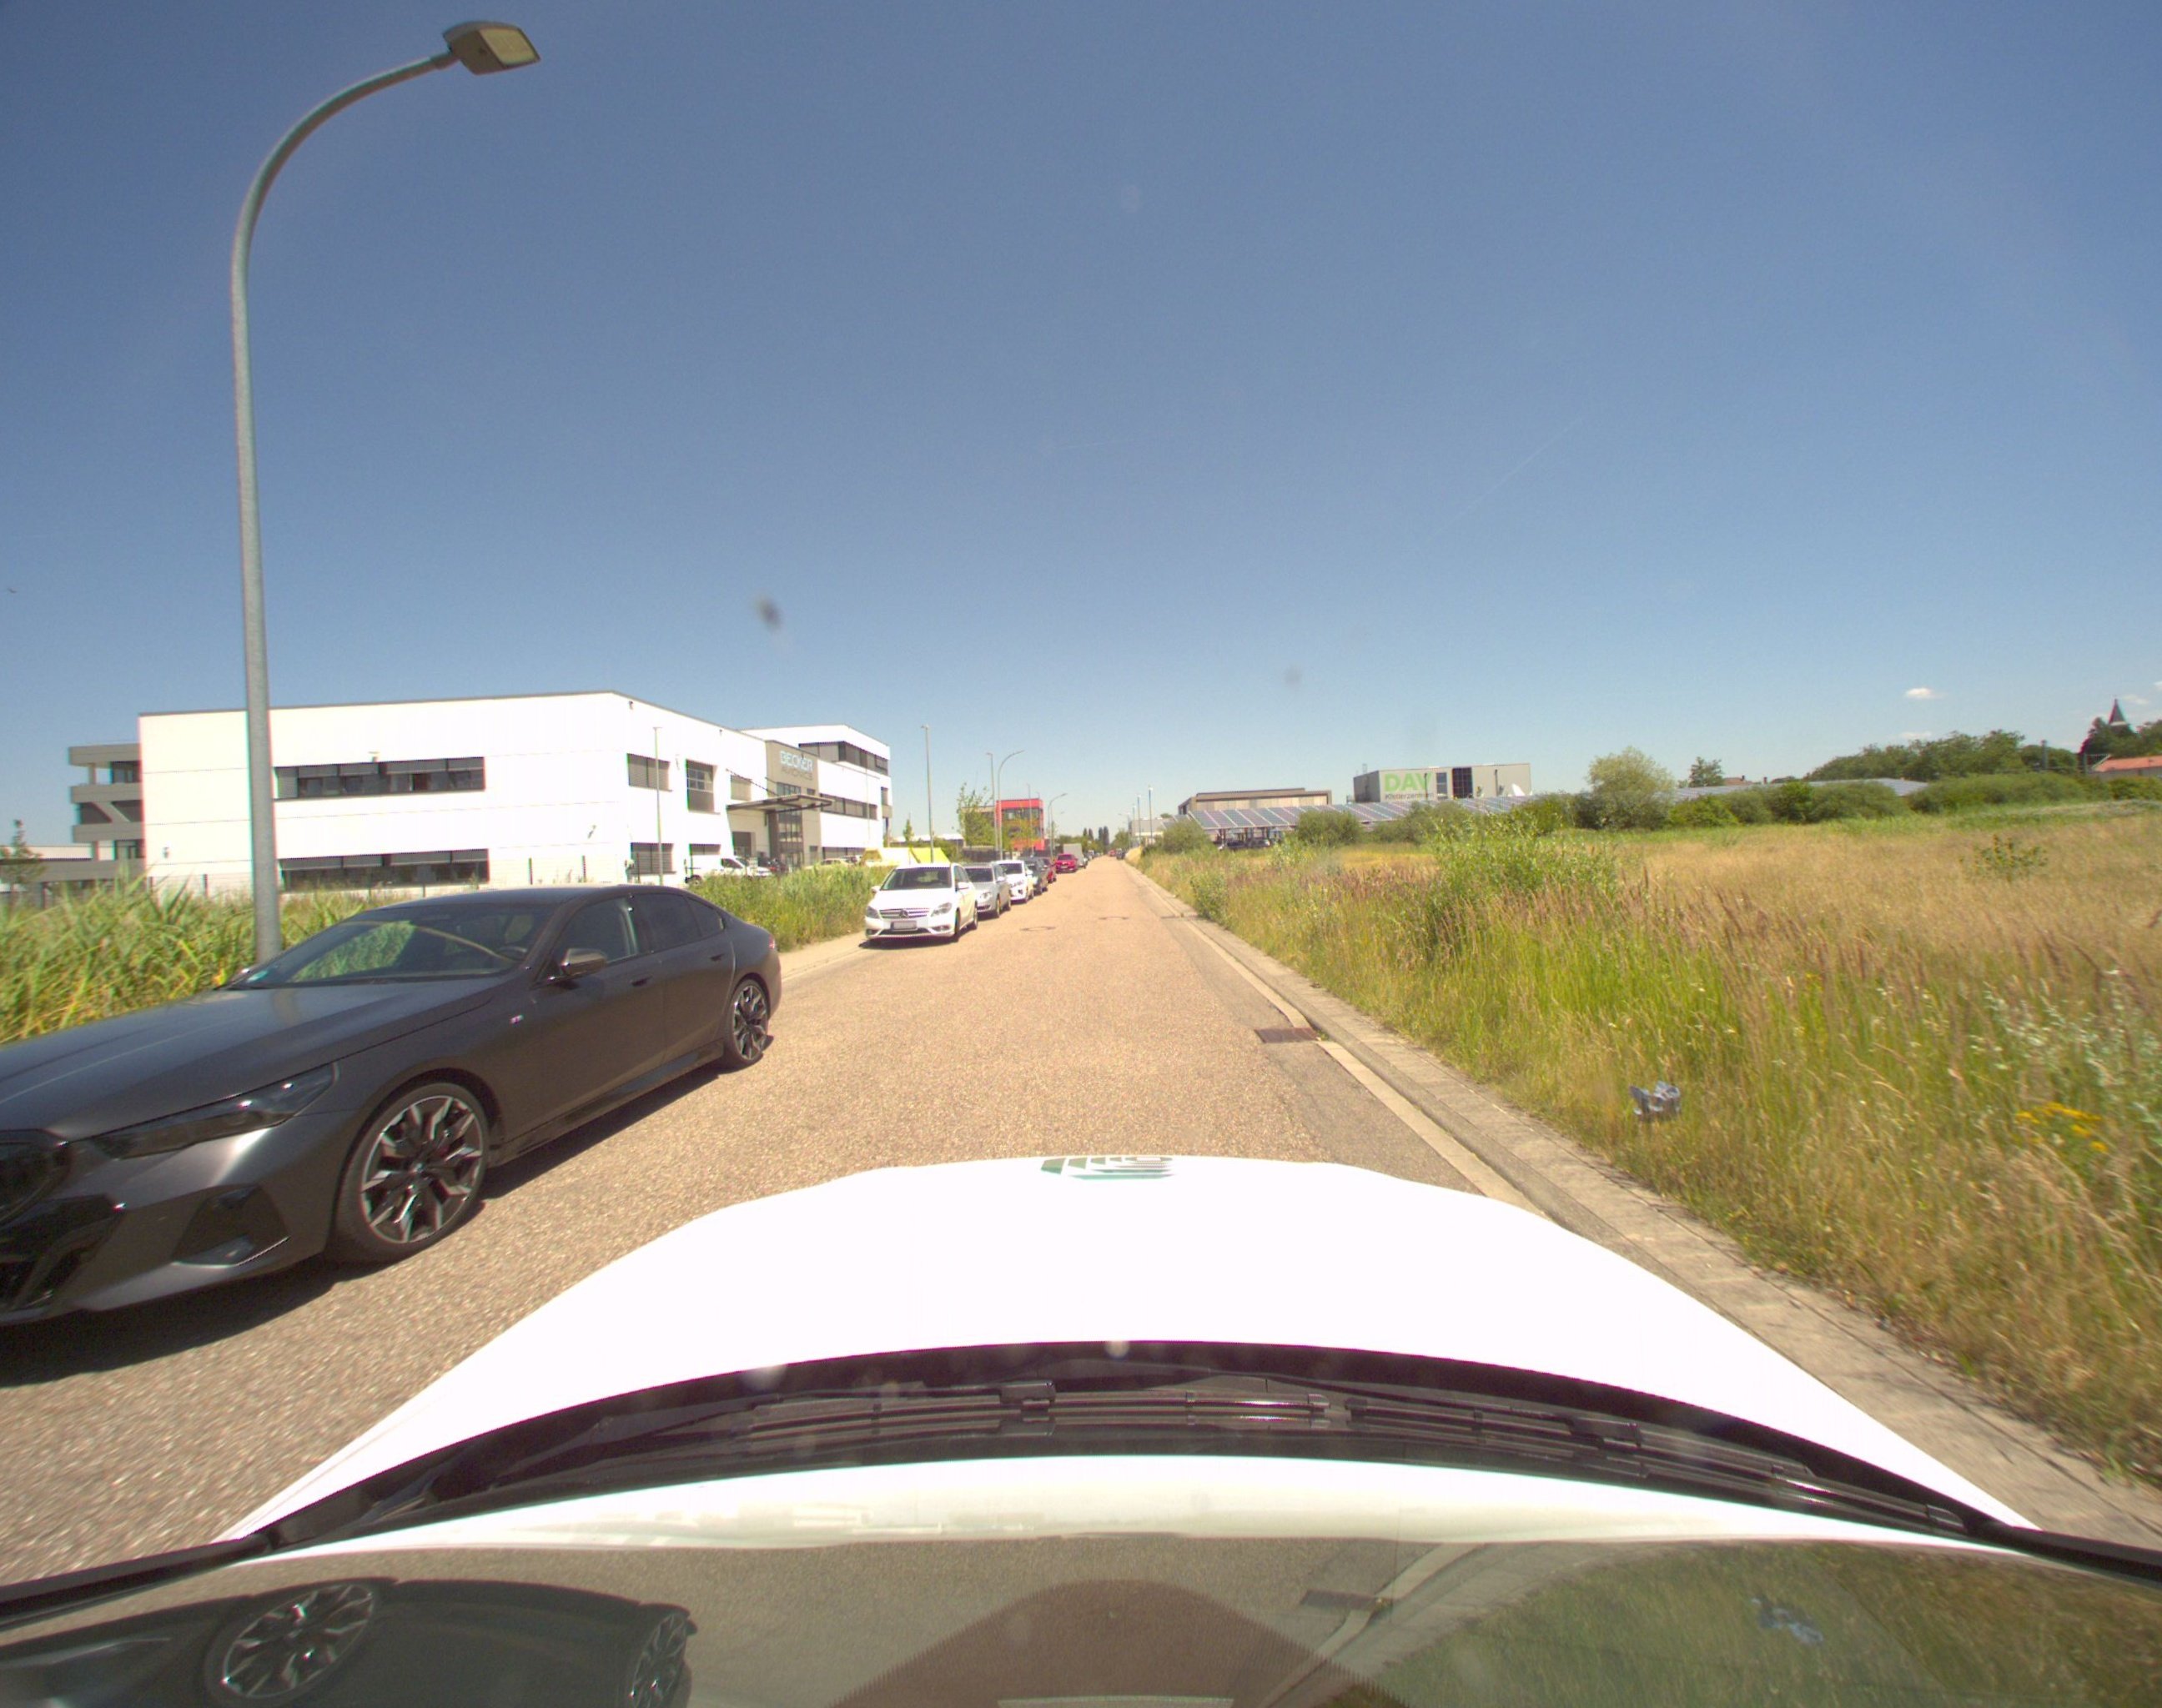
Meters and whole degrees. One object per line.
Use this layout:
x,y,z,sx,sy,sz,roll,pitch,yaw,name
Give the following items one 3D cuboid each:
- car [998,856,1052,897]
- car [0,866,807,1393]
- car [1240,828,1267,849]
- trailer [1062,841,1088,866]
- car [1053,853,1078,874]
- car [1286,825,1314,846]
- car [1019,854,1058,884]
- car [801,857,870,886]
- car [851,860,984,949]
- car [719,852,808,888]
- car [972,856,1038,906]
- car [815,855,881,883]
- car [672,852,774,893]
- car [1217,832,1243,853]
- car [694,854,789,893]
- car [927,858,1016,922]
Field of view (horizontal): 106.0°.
-2.282,0.895,34.267,1.780,1.520,3.984,-3,0,2,car
-3.533,0.917,5.014,1.762,1.486,5.017,-3,0,2,car
17.892,-1.574,84.597,1.986,2.013,4.002,-3,0,2,car
-0.552,-0.032,77.315,2.192,2.137,4.287,-3,0,2,trailer
-1.211,0.736,65.795,1.780,1.520,3.984,-3,0,2,car
22.665,-1.915,84.493,1.871,2.013,4.002,-3,0,2,car
-2.360,0.817,46.400,1.780,1.520,3.984,-3,0,2,car
-18.629,1.293,61.919,4.511,1.943,2.032,-3,0,2,car
-3.274,0.955,17.100,1.780,1.520,3.984,-3,0,2,car
-19.359,0.956,49.812,4.511,1.943,2.032,-3,0,2,car
-2.637,0.899,29.026,1.780,1.520,3.984,-3,0,2,car
-18.490,1.186,64.772,4.511,1.943,2.032,-3,0,2,car
-19.295,0.981,44.066,4.511,1.943,2.032,-3,0,2,car
15.453,-1.211,84.484,1.986,2.013,4.002,-3,0,2,car
-19.477,1.079,46.824,4.511,1.943,2.032,-3,0,2,car
-2.984,0.950,23.066,1.780,1.520,3.984,-3,0,2,car
